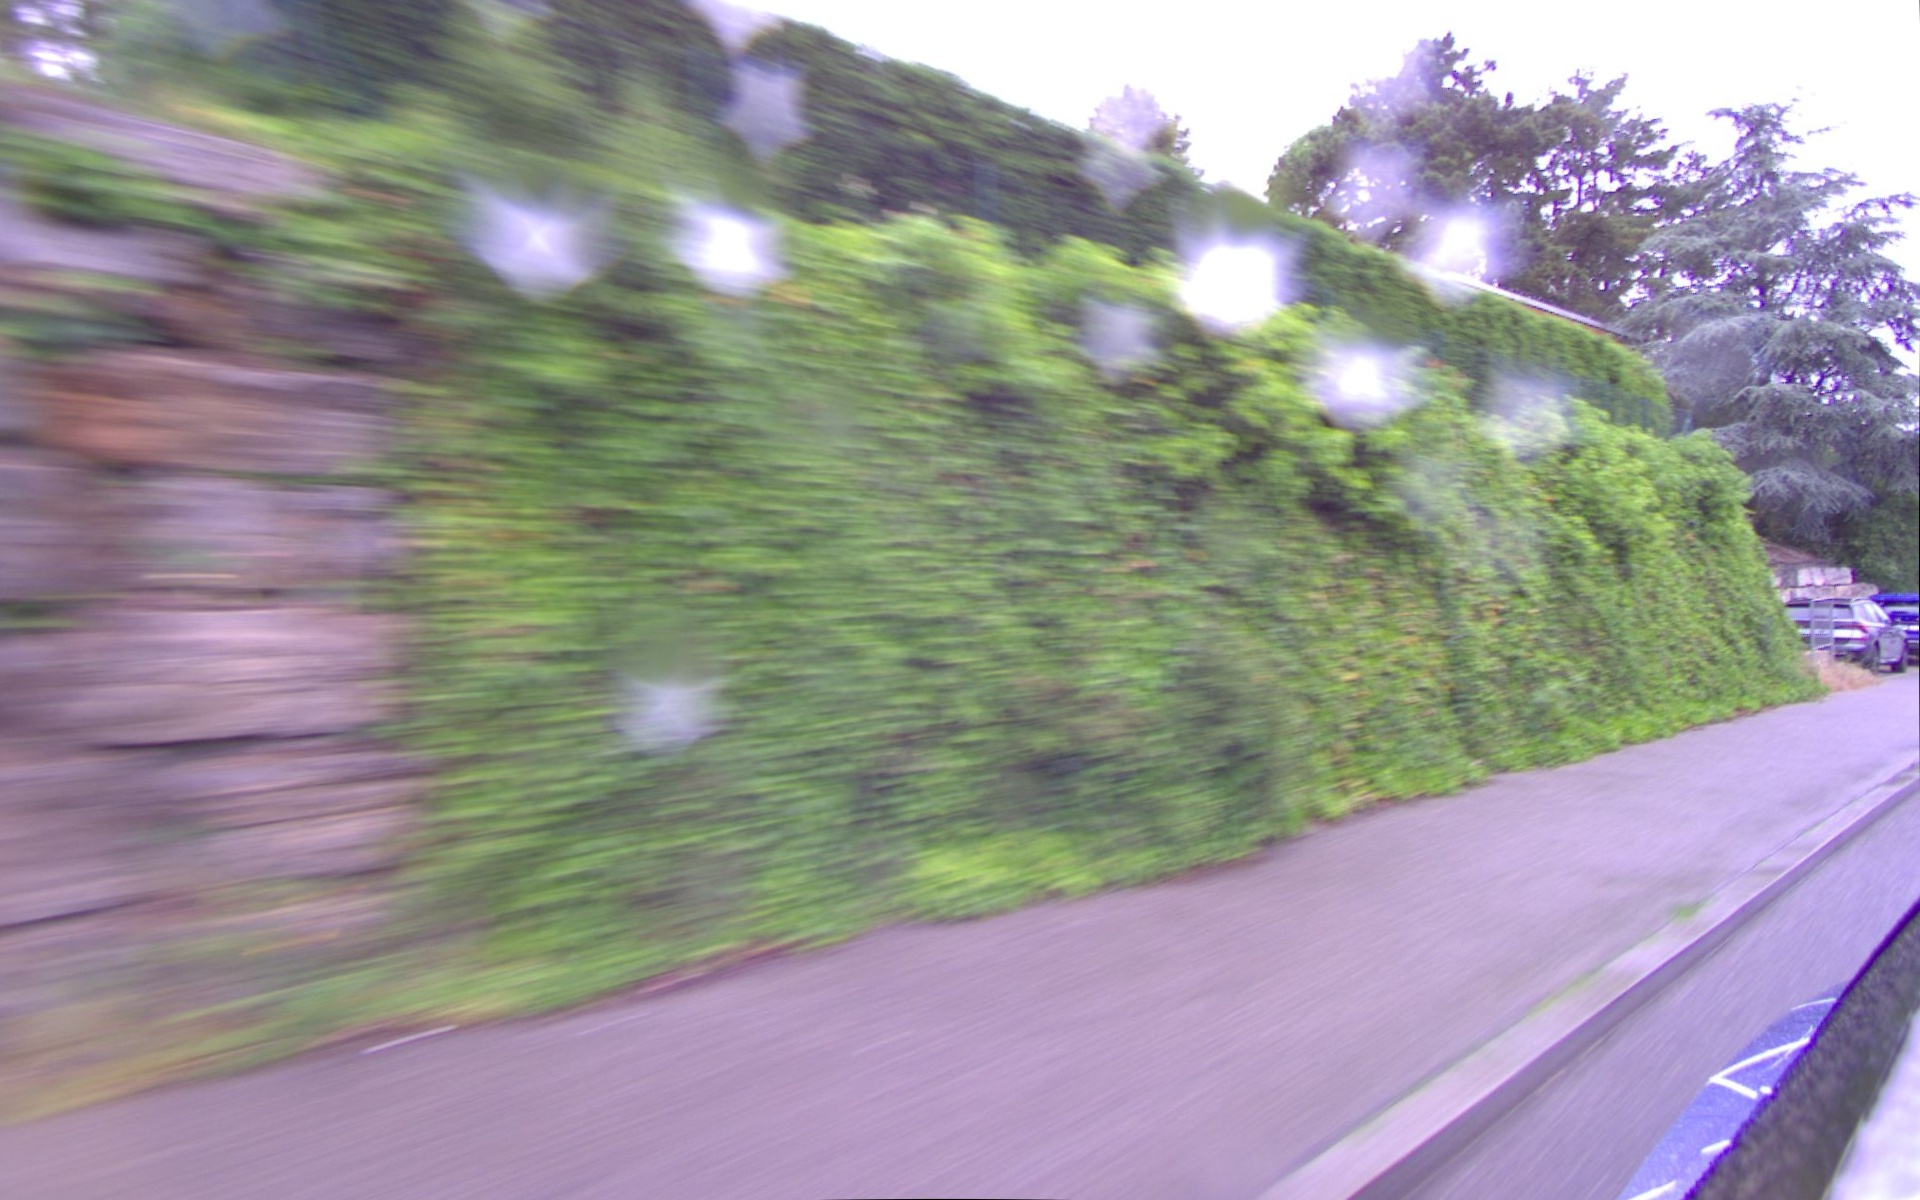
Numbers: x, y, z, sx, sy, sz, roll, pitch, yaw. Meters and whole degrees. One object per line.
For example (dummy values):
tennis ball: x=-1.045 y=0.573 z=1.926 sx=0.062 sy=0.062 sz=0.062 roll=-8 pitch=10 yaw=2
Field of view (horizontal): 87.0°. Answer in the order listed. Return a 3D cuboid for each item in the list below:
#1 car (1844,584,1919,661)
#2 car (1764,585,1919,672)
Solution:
car: x=23.068 y=0.495 z=24.331 sx=4.463 sy=1.691 sz=1.998 roll=0 pitch=2 yaw=-39
car: x=18.175 y=0.513 z=20.645 sx=3.936 sy=1.583 sz=1.816 roll=0 pitch=2 yaw=-37
